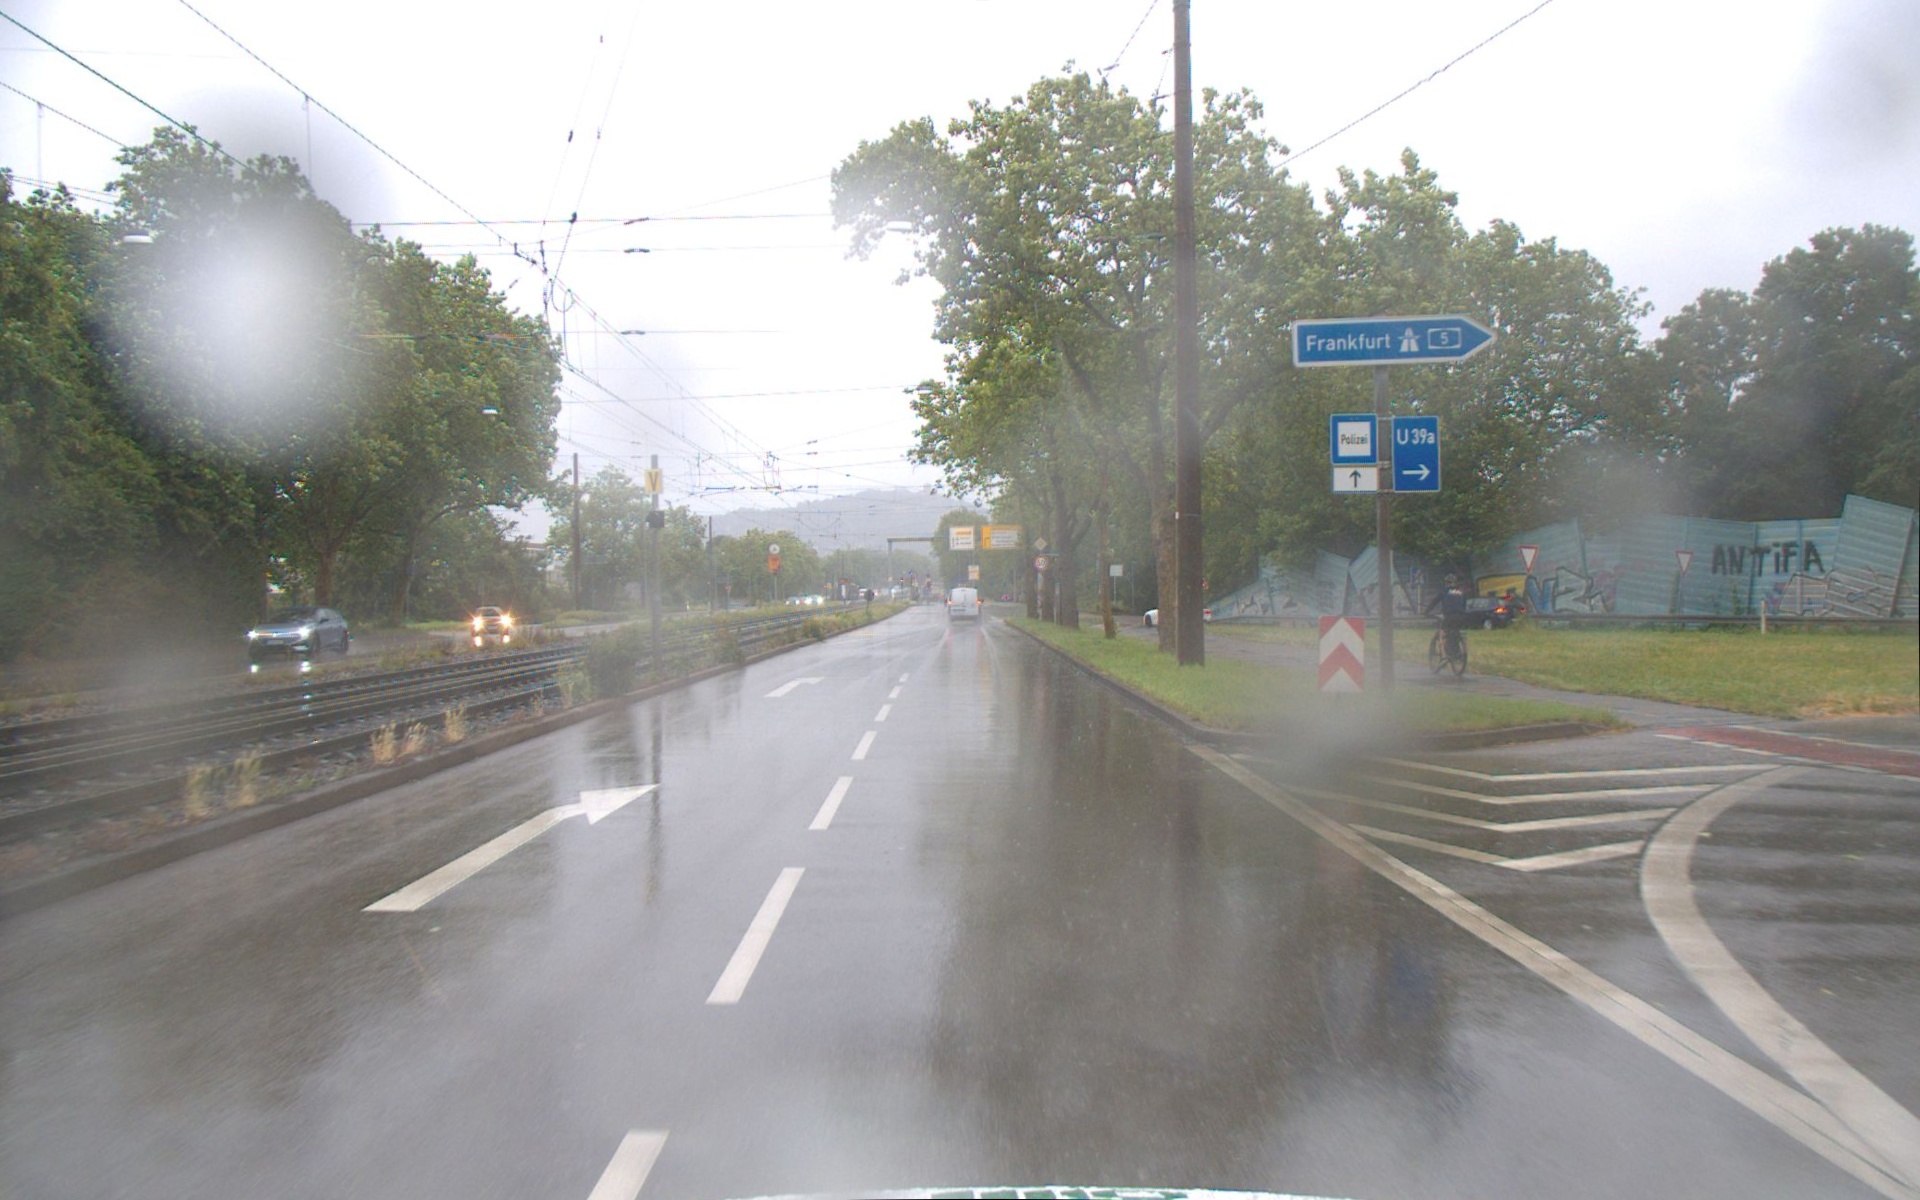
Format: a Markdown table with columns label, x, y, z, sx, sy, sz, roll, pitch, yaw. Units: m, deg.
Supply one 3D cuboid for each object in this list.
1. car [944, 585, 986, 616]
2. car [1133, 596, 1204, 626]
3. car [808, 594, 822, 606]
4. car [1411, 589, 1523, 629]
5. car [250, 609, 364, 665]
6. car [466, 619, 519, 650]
| label | x | y | z | sx | sy | sz | roll | pitch | yaw |
| --- | --- | --- | --- | --- | --- | --- | --- | --- | --- |
| car | 0.220 | 0.039 | 83.731 | 2.035 | 1.445 | 3.999 | -2 | 0 | -1 |
| car | 11.013 | 0.570 | 87.582 | 1.920 | 1.563 | 4.440 | -1 | 0 | -20 |
| car | -20.031 | -0.035 | 228.533 | 1.905 | 1.644 | 4.984 | -1 | 0 | -4 |
| car | 20.698 | 0.377 | 67.676 | 1.840 | 1.563 | 4.478 | -1 | 0 | -26 |
| car | -19.835 | 1.094 | 50.455 | 1.656 | 1.550 | 4.953 | -1 | 0 | -2 |
| car | -23.552 | 1.718 | 83.422 | 1.648 | 1.430 | 3.938 | -1 | 0 | -2 |
